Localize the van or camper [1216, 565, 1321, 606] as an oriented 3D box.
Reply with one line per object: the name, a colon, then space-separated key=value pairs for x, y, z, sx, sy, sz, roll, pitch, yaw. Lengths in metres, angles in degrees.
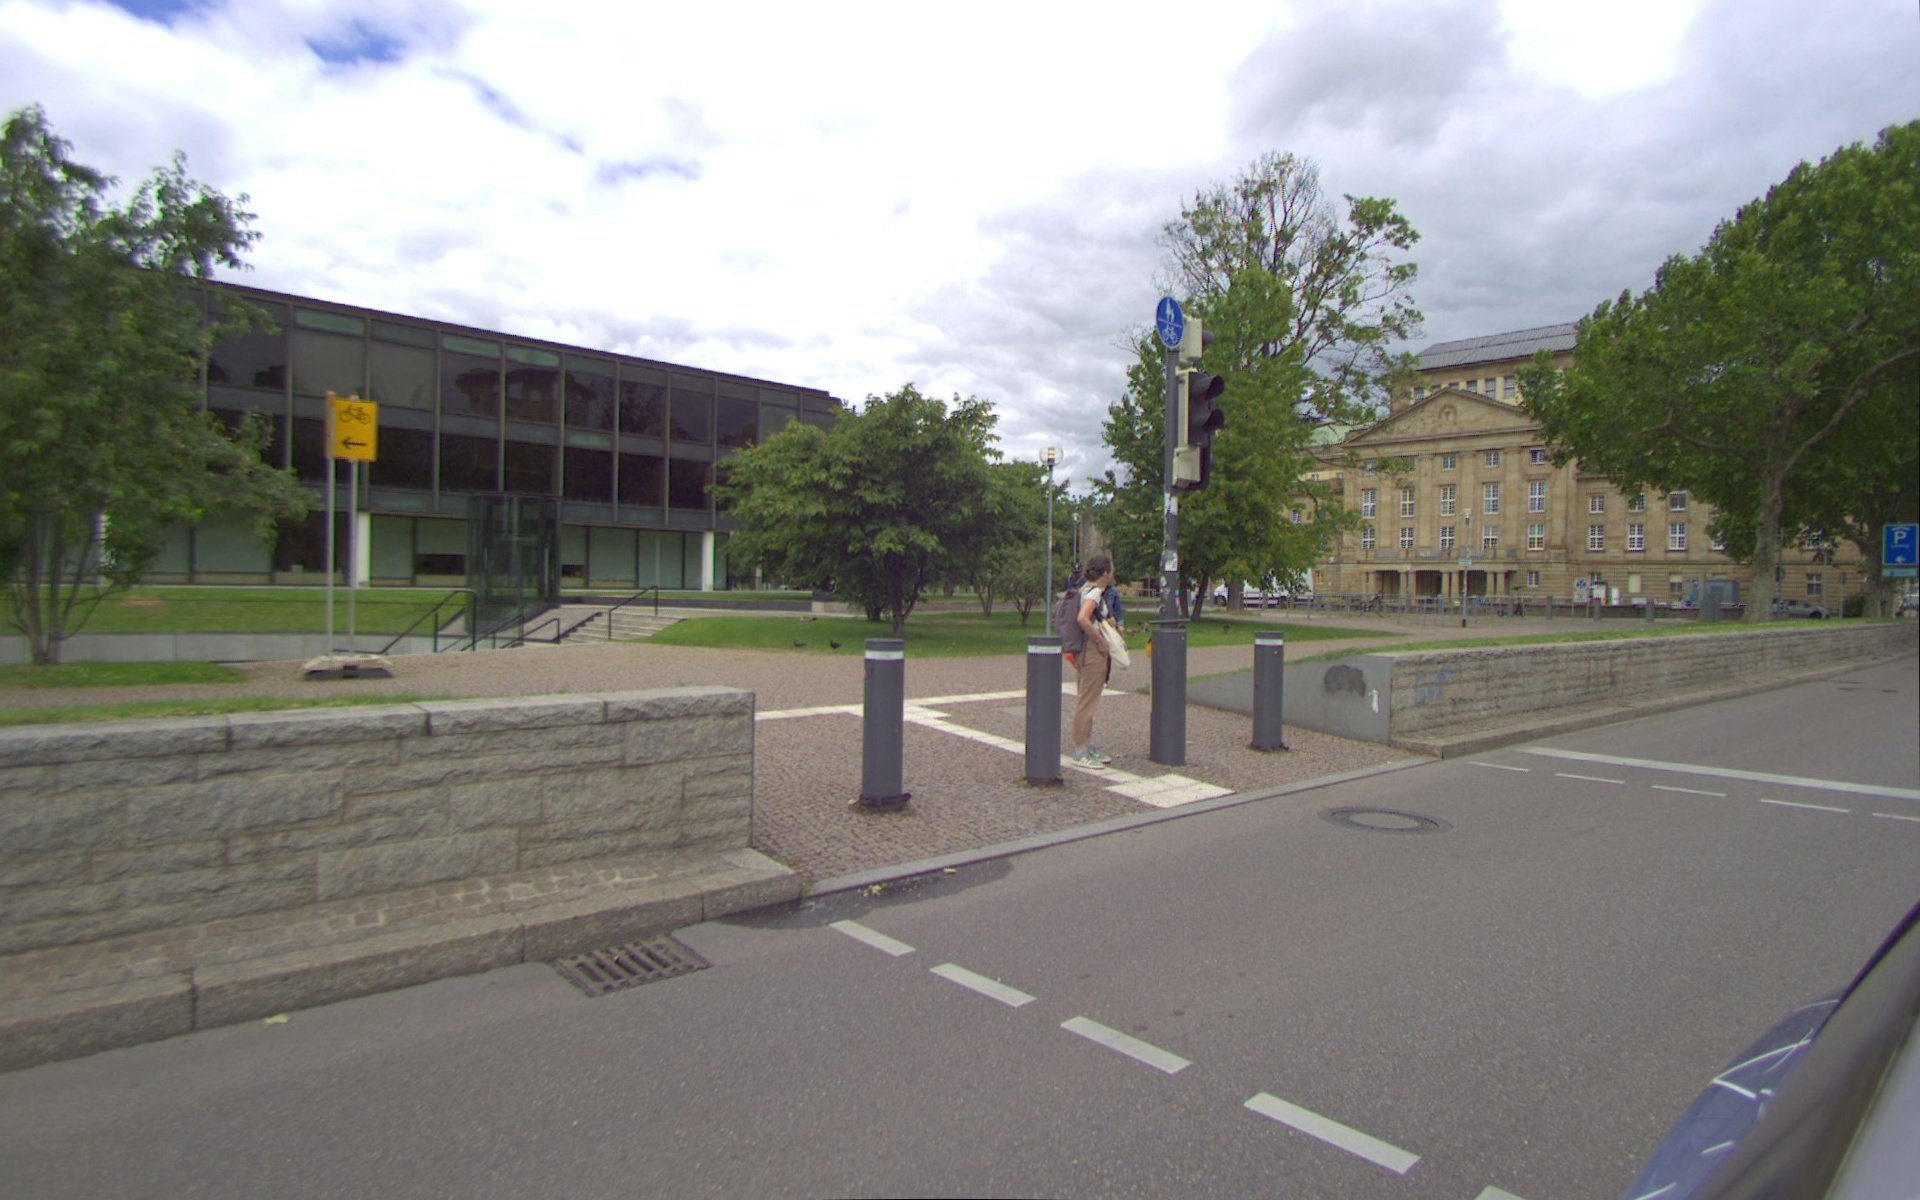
van or camper: x=18.575 y=-0.878 z=61.113 sx=2.281 sy=2.348 sz=5.704 roll=-2 pitch=1 yaw=-42

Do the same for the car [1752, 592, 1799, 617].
car: x=54.783 y=0.326 z=67.936 sx=4.143 sy=1.537 sz=1.767 roll=2 pitch=0 yaw=-41

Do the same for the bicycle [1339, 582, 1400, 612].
bicycle: x=16.538 y=-0.121 z=40.941 sx=0.674 sy=1.156 sz=2.195 roll=1 pitch=1 yaw=-41

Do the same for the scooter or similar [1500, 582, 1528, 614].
scooter or similar: x=22.872 y=-0.083 z=41.780 sx=0.716 sy=1.261 sz=0.717 roll=-1 pitch=5 yaw=-44

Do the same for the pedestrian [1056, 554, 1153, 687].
pedestrian: x=1.823 y=0.249 z=12.794 sx=0.889 sy=1.580 sz=0.687 roll=1 pitch=5 yaw=-25

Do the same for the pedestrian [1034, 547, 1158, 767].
pedestrian: x=1.101 y=0.436 z=8.203 sx=0.672 sy=1.677 sz=0.698 roll=0 pitch=-1 yaw=-43

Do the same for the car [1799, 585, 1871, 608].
car: x=64.961 y=-0.238 z=75.211 sx=3.980 sy=1.616 sz=1.710 roll=-2 pitch=-1 yaw=40

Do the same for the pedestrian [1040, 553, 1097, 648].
pedestrian: x=1.925 y=-0.004 z=18.010 sx=0.614 sy=1.646 sz=0.805 roll=1 pitch=1 yaw=-34
